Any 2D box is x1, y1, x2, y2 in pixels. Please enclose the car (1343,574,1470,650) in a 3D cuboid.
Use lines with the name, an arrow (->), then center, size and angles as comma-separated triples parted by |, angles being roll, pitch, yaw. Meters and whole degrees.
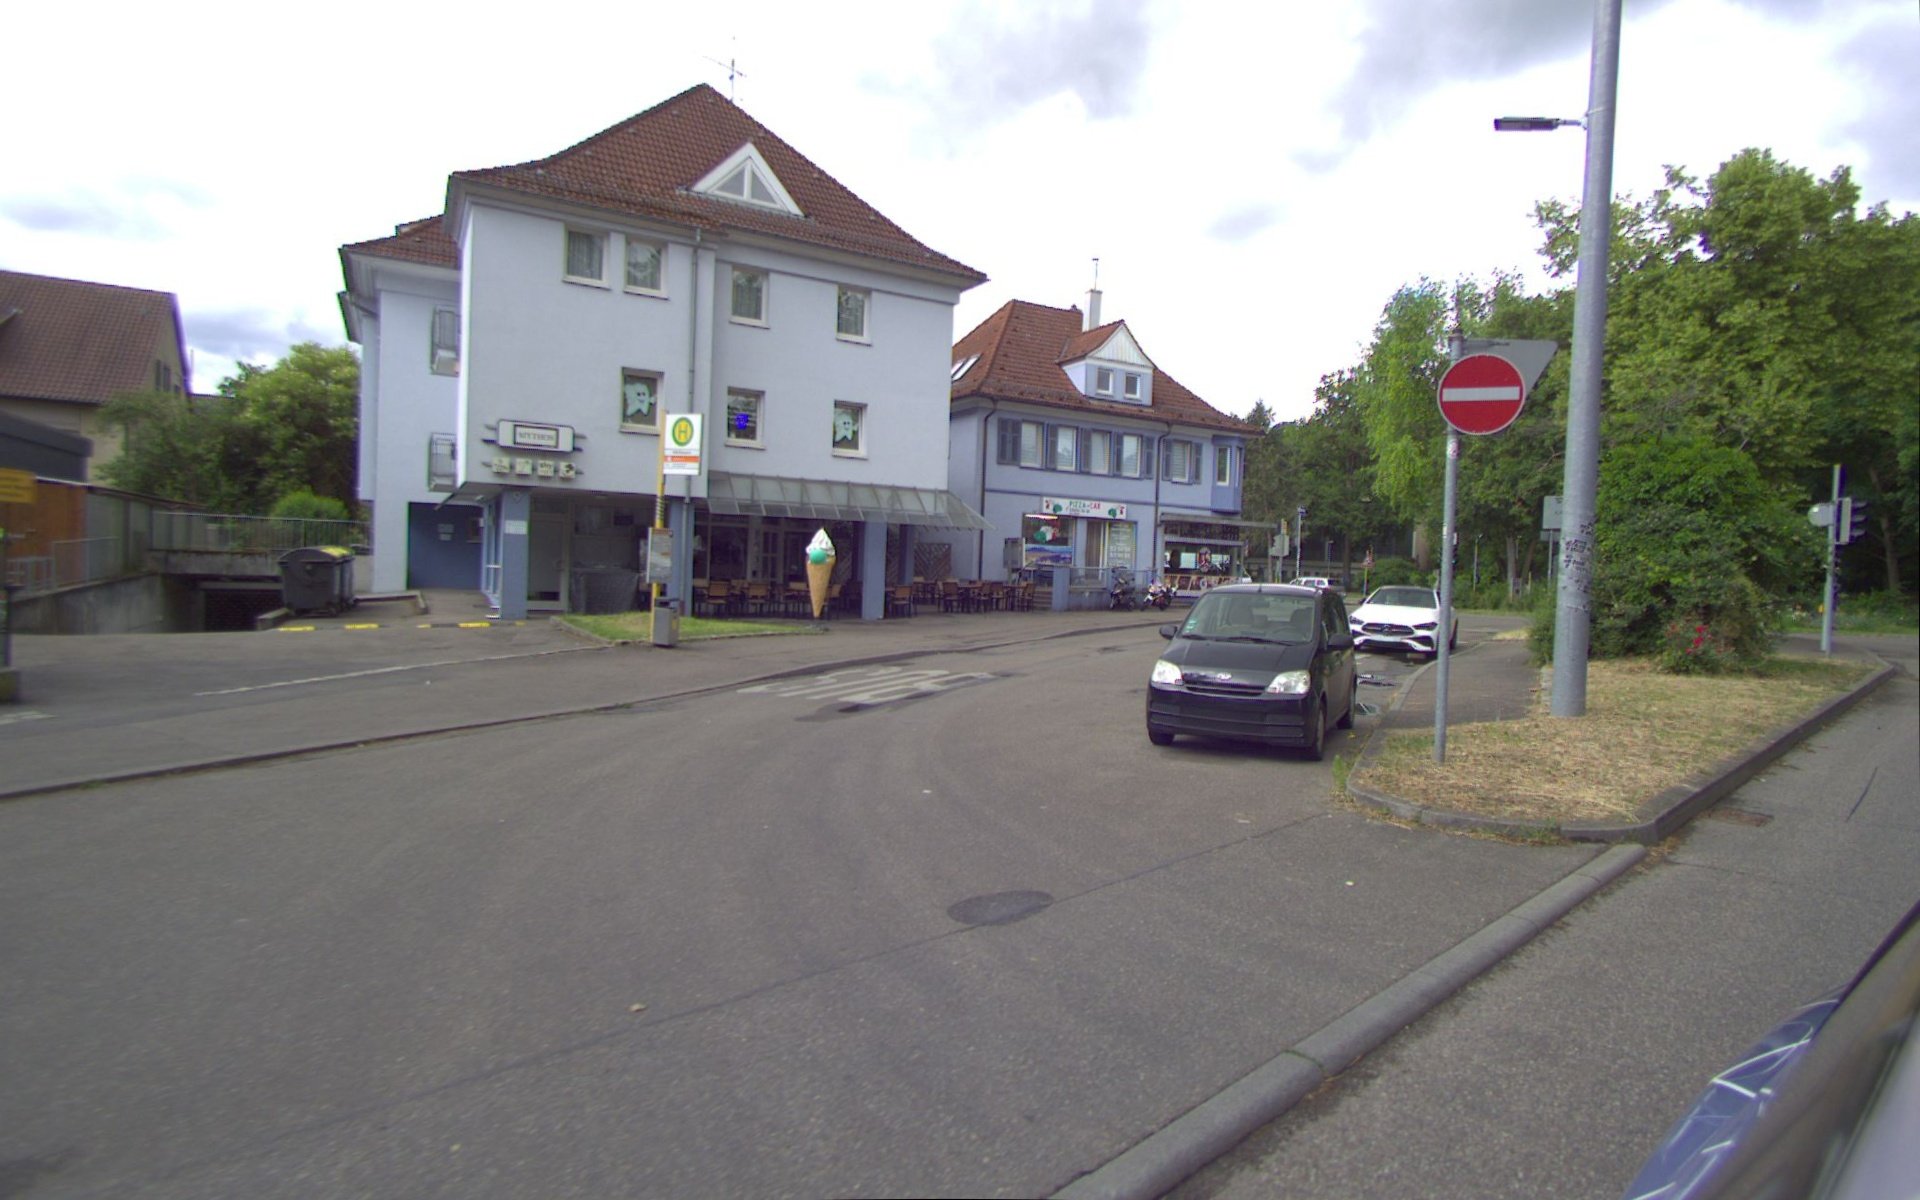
car -> 10.061, 0.181, 22.612 | 1.985, 1.403, 4.736 | 3, 3, 31

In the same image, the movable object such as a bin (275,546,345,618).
movable object such as a bin -> -13.562, -0.385, 21.149 | 1.072, 1.433, 1.221 | 0, 3, -25

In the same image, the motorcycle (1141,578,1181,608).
motorcycle -> 6.875, -0.247, 34.520 | 0.519, 0.997, 1.797 | 3, 3, 39

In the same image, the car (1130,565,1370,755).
car -> 2.928, 0.436, 9.728 | 1.558, 1.421, 3.462 | 3, 2, 27

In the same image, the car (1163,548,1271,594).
car -> 14.192, -1.656, 56.300 | 2.289, 2.421, 5.967 | 0, 3, -30

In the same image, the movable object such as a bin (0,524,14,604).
movable object such as a bin -> -17.147, -0.641, 17.494 | 0.976, 1.361, 1.221 | 0, 3, -34

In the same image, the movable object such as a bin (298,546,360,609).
movable object such as a bin -> -14.679, -0.535, 23.584 | 1.072, 1.412, 1.221 | 0, 3, -25

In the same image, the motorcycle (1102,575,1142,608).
motorcycle -> 5.291, -0.298, 33.047 | 0.487, 1.044, 1.701 | 3, 3, 39

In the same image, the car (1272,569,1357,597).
car -> 20.404, -0.997, 58.415 | 1.862, 1.473, 4.554 | 0, 3, -28

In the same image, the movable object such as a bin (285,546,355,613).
movable object such as a bin -> -14.133, -0.461, 22.388 | 1.137, 1.412, 1.221 | 0, 3, -25

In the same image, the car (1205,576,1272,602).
car -> 17.418, -0.707, 63.558 | 1.765, 1.473, 3.965 | 0, 3, -29
